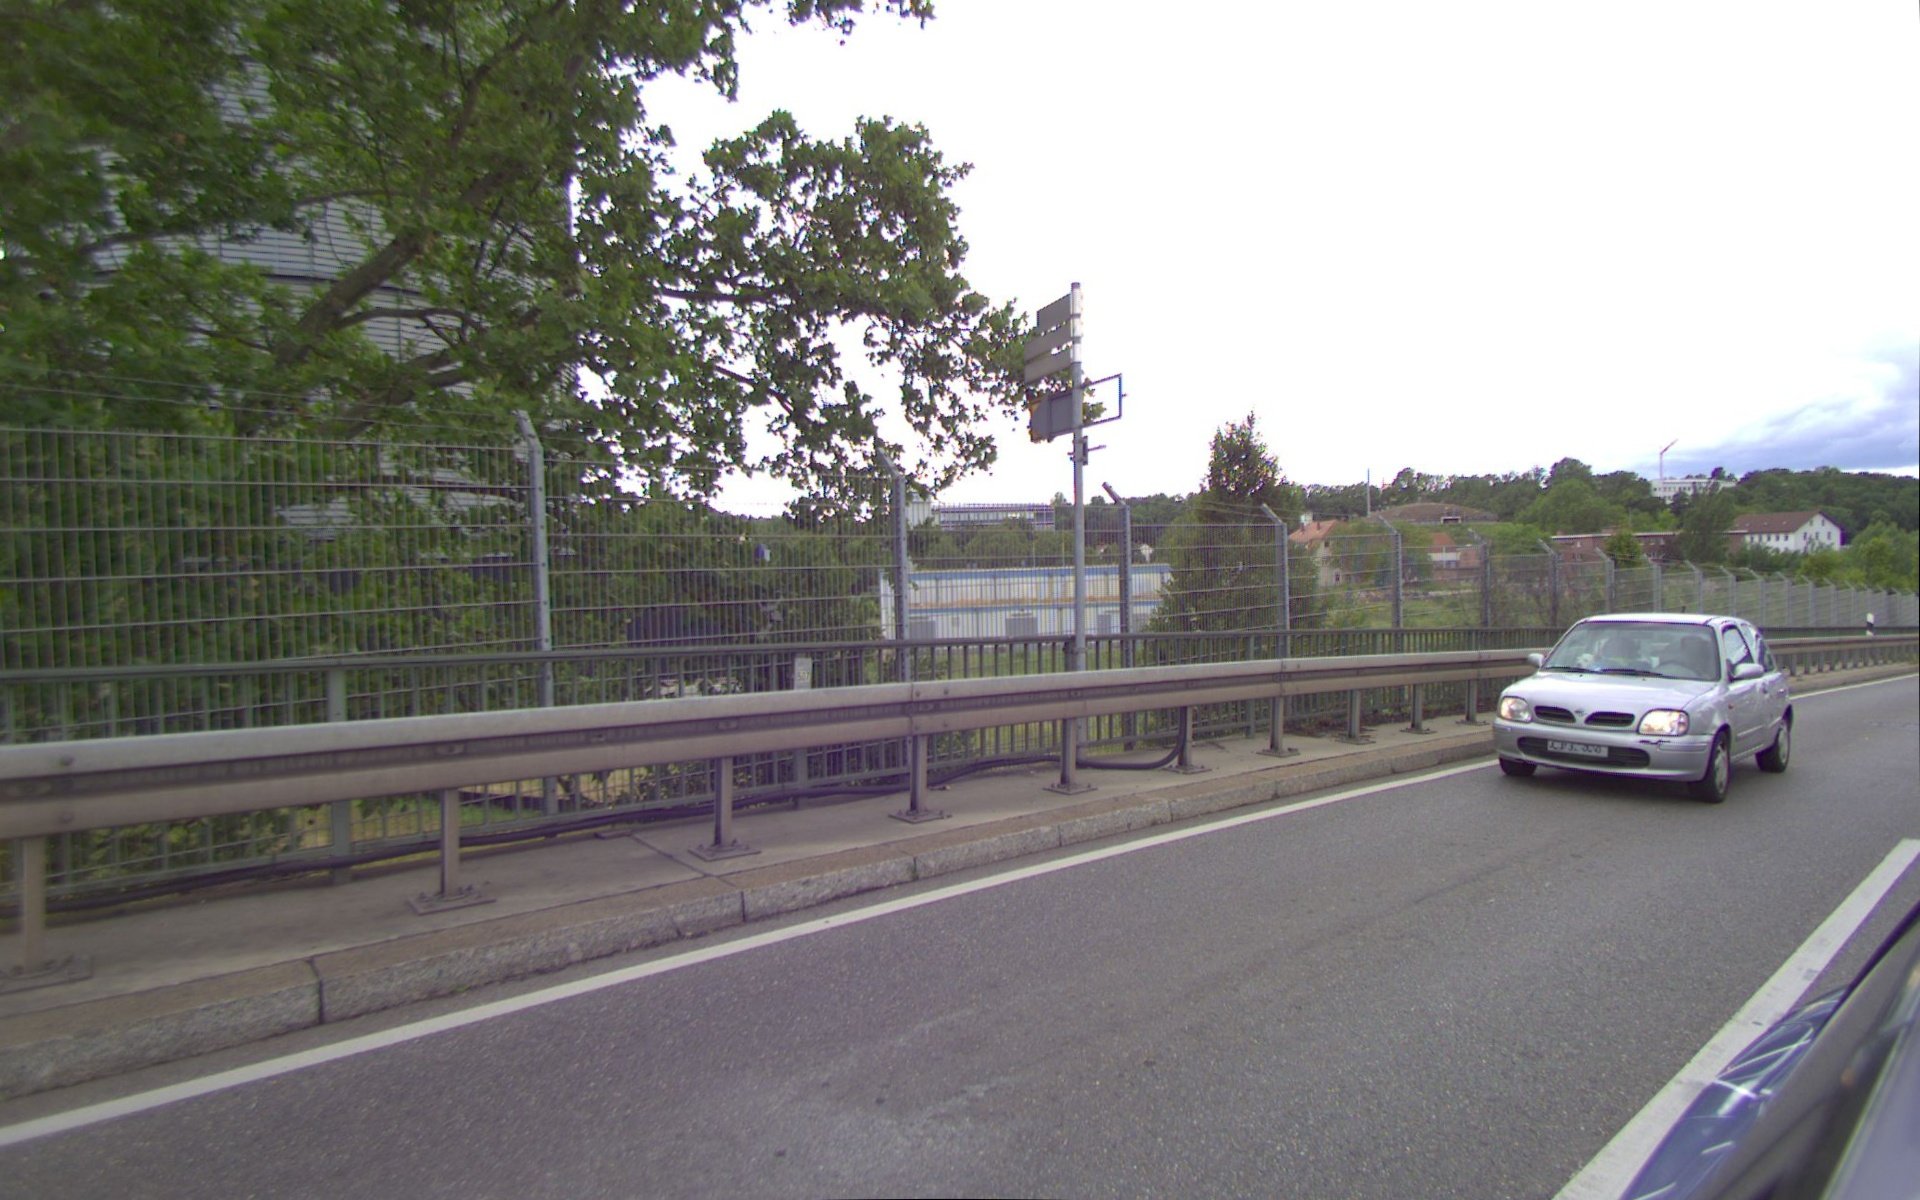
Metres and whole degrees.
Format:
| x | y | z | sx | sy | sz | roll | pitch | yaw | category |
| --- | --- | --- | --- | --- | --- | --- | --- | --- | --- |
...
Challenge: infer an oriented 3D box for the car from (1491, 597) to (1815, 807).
| x | y | z | sx | sy | sz | roll | pitch | yaw | category |
| --- | --- | --- | --- | --- | --- | --- | --- | --- | --- |
| 6.168 | 0.714 | 8.886 | 3.383 | 1.449 | 1.588 | -1 | 1 | -42 | car |
